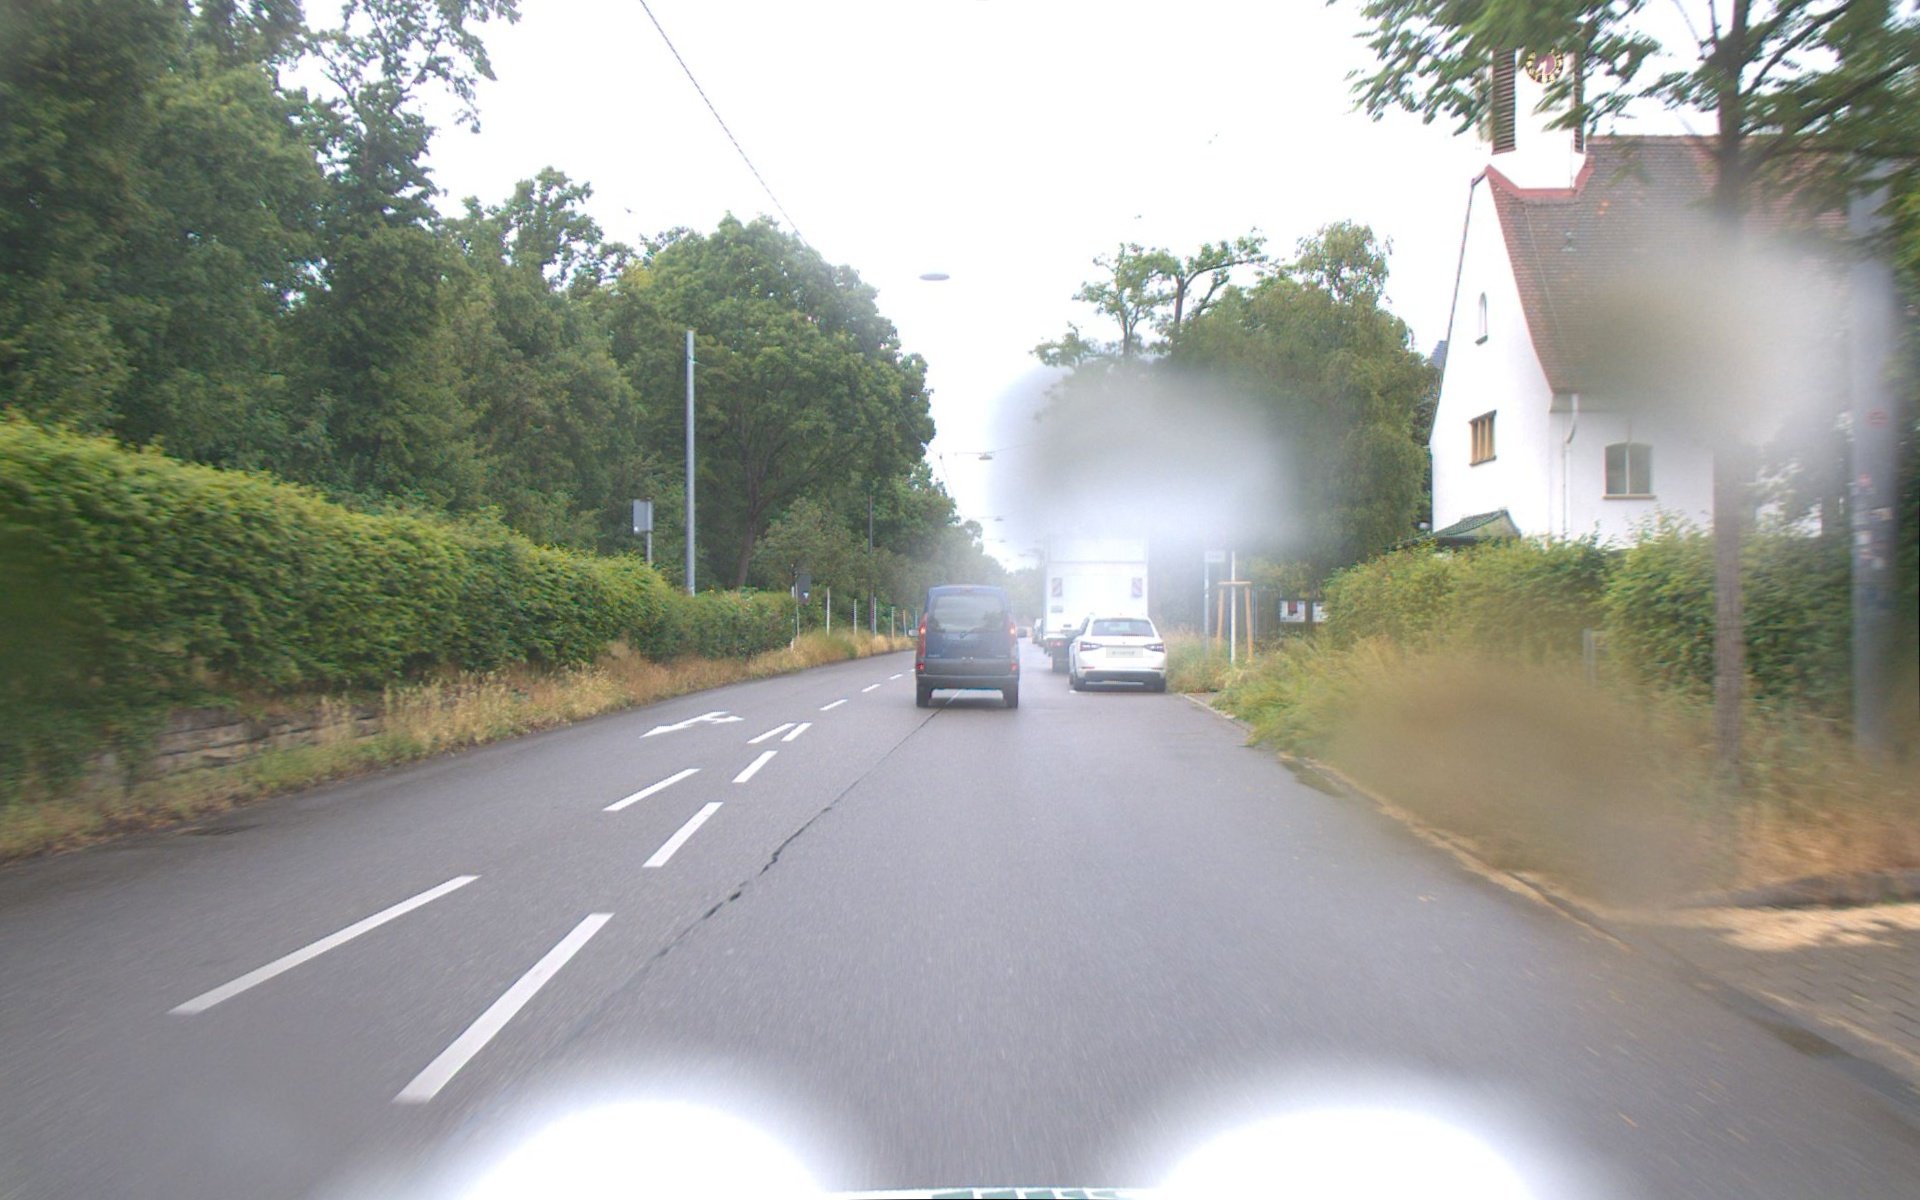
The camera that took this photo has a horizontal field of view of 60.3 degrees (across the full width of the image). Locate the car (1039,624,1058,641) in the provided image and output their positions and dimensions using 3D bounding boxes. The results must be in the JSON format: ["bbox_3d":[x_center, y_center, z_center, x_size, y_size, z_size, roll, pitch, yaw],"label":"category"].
[{"bbox_3d":[9.222,3.391,172.363,1.952,1.613,4.001,-1,-1,2],"label":"car"}]

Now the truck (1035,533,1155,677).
[{"bbox_3d":[3.448,0.150,43.672,2.675,3.446,6.686,-1,-1,1],"label":"truck"}]

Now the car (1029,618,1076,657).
[{"bbox_3d":[4.021,1.616,72.288,1.952,1.613,4.001,-1,-1,2],"label":"car"}]

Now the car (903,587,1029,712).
[{"bbox_3d":[0.021,0.755,26.612,1.773,1.829,3.997,-1,-1,-3],"label":"car"}]

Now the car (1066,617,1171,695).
[{"bbox_3d":[3.087,1.070,32.931,1.775,1.405,4.285,-1,0,2],"label":"car"}]
